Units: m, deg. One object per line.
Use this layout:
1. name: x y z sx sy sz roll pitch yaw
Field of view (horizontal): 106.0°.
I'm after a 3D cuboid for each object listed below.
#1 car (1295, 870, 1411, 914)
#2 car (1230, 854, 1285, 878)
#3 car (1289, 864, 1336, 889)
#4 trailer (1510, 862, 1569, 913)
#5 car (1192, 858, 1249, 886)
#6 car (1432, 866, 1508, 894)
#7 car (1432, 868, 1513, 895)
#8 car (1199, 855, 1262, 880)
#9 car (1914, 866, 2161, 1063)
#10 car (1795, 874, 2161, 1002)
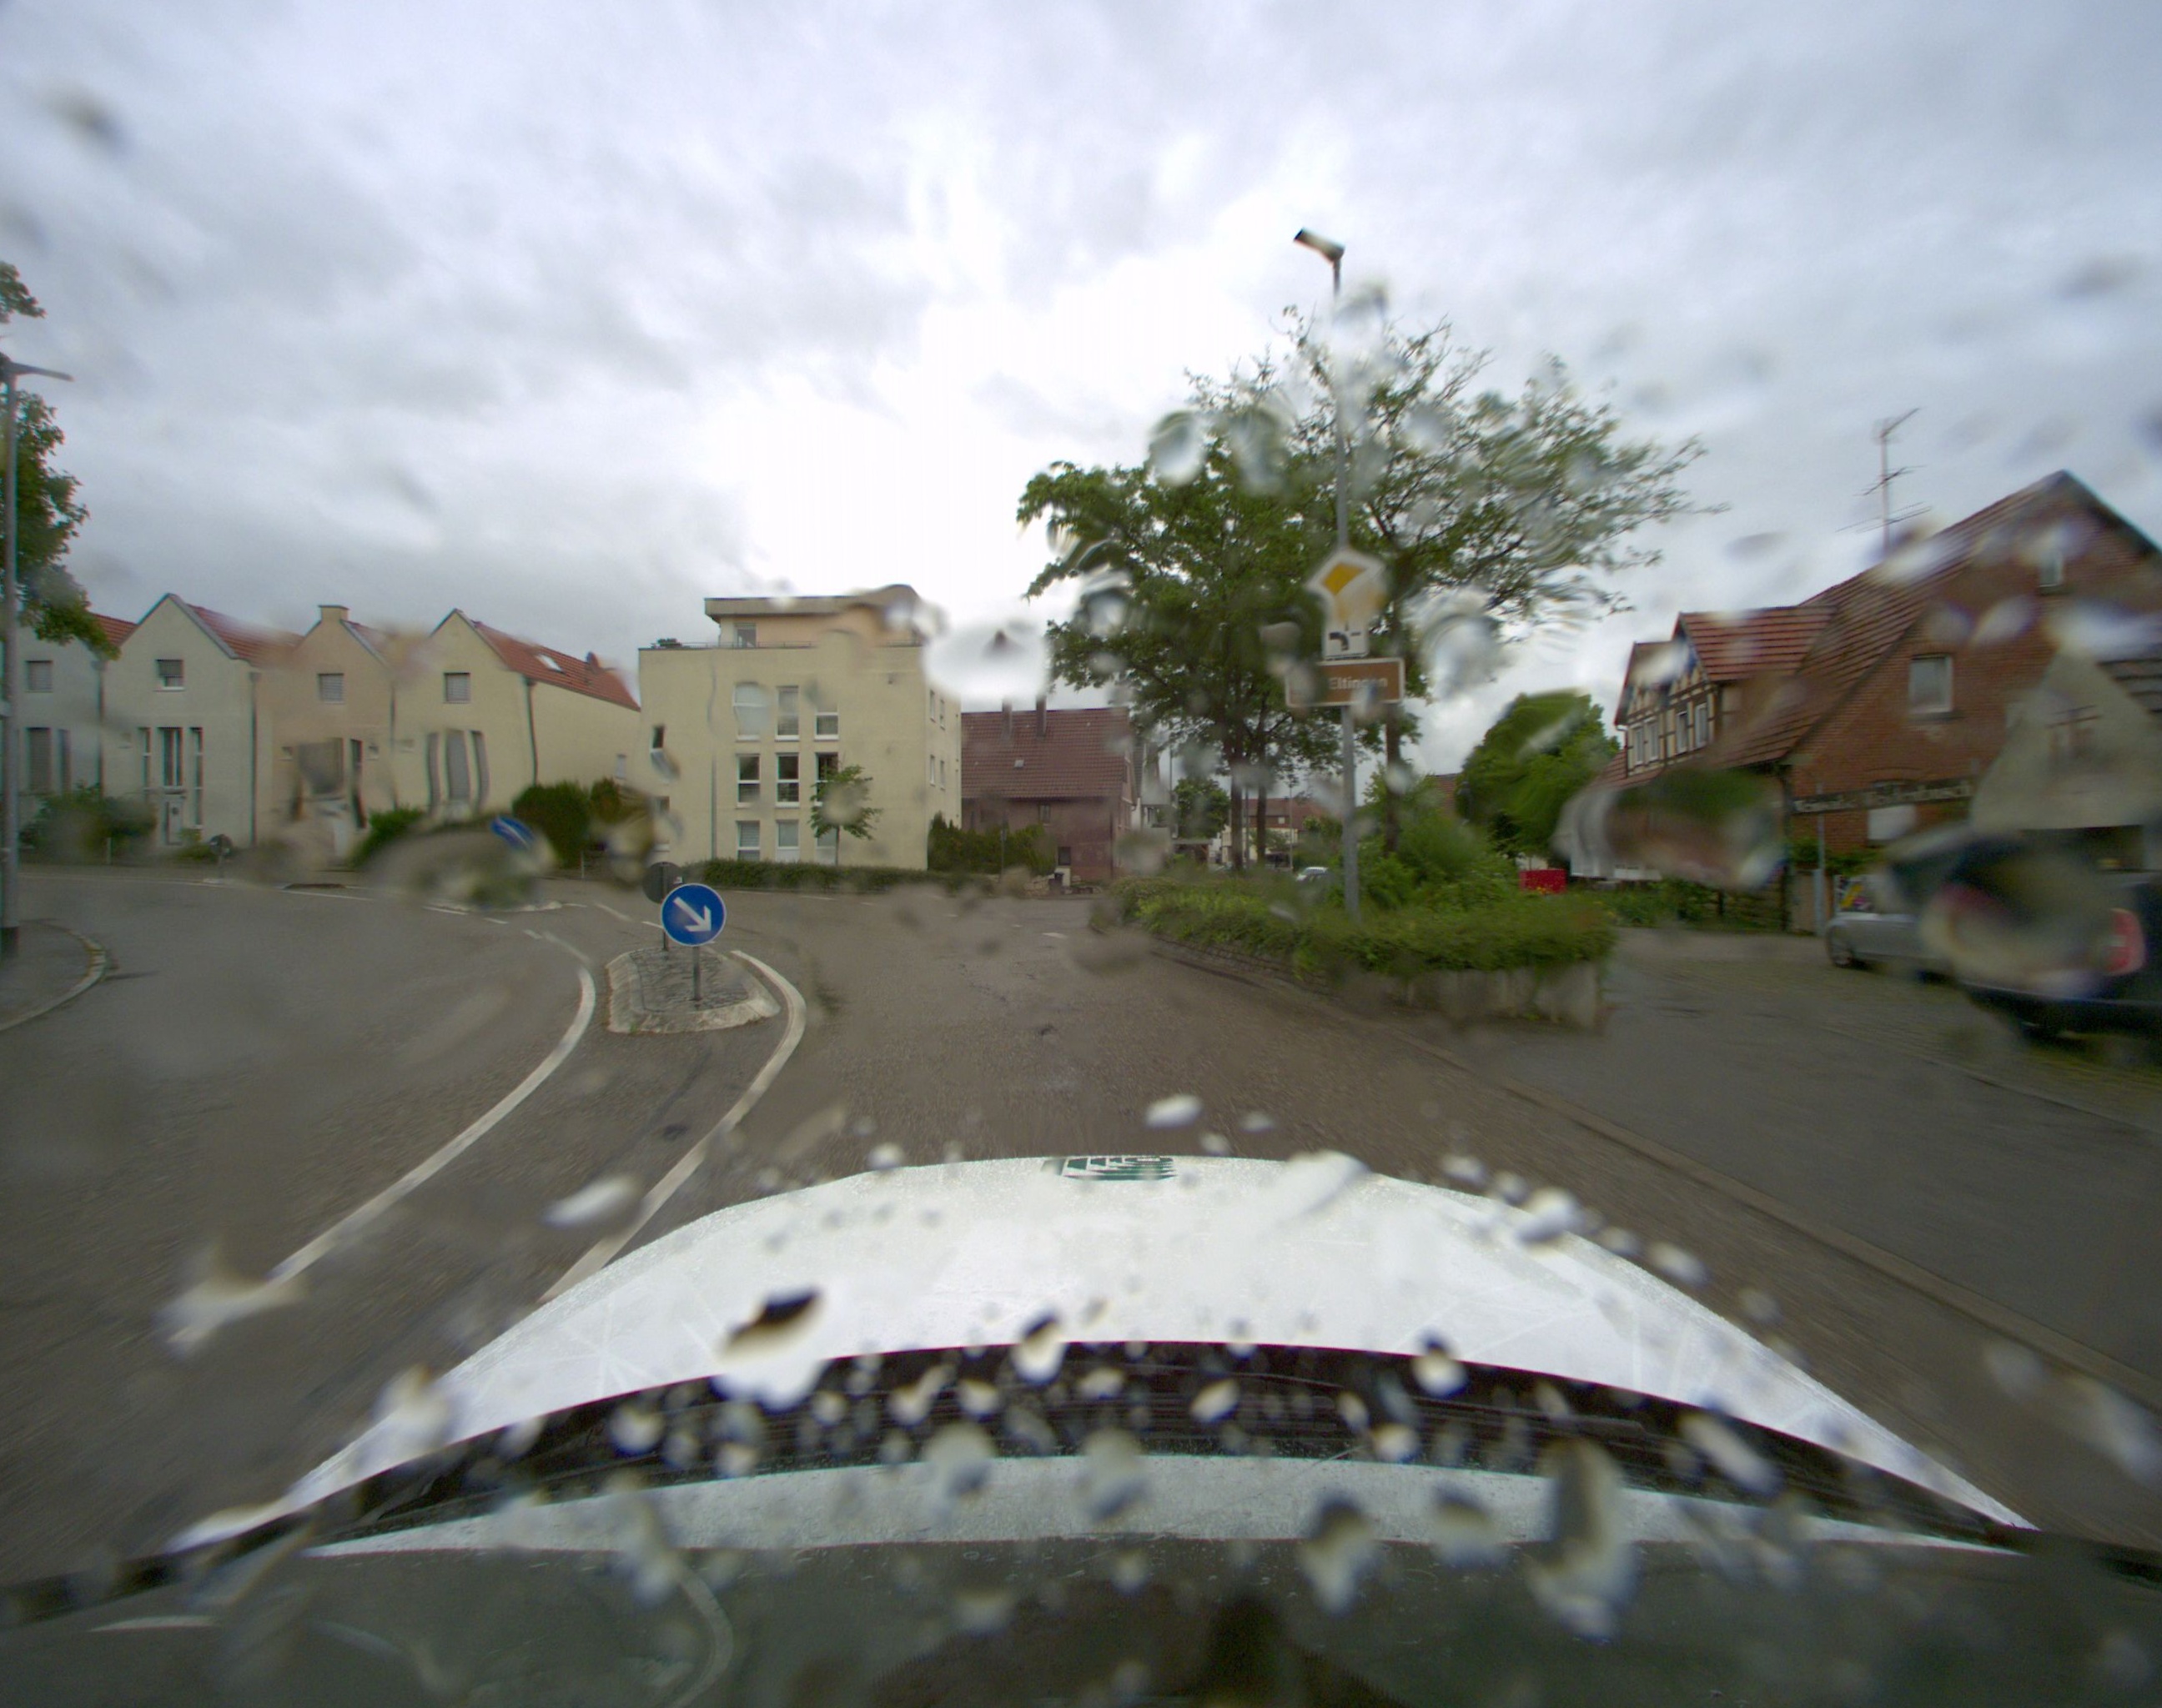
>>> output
1. car: 9.676 1.325 29.175 1.631 1.390 3.692 2 -1 -38
2. car: 13.347 0.897 61.750 3.962 1.697 2.006 1 0 10
3. car: 14.839 1.426 52.141 1.735 1.536 4.175 1 -1 33
4. trailer: 16.040 1.137 28.582 1.396 1.649 2.739 2 0 22
5. car: 10.105 1.286 58.842 3.960 1.882 1.846 2 0 12
6. car: 24.533 1.629 51.373 3.949 1.552 2.012 2 0 37
7. car: 25.770 1.776 53.662 4.426 1.552 2.012 2 0 37
8. car: 9.825 0.854 53.528 3.963 1.456 1.951 2 0 9
9. car: 10.439 0.885 7.206 3.962 1.583 1.753 -2 -2 10
10. car: 12.682 1.048 11.831 1.887 1.439 4.284 -1 -1 17
